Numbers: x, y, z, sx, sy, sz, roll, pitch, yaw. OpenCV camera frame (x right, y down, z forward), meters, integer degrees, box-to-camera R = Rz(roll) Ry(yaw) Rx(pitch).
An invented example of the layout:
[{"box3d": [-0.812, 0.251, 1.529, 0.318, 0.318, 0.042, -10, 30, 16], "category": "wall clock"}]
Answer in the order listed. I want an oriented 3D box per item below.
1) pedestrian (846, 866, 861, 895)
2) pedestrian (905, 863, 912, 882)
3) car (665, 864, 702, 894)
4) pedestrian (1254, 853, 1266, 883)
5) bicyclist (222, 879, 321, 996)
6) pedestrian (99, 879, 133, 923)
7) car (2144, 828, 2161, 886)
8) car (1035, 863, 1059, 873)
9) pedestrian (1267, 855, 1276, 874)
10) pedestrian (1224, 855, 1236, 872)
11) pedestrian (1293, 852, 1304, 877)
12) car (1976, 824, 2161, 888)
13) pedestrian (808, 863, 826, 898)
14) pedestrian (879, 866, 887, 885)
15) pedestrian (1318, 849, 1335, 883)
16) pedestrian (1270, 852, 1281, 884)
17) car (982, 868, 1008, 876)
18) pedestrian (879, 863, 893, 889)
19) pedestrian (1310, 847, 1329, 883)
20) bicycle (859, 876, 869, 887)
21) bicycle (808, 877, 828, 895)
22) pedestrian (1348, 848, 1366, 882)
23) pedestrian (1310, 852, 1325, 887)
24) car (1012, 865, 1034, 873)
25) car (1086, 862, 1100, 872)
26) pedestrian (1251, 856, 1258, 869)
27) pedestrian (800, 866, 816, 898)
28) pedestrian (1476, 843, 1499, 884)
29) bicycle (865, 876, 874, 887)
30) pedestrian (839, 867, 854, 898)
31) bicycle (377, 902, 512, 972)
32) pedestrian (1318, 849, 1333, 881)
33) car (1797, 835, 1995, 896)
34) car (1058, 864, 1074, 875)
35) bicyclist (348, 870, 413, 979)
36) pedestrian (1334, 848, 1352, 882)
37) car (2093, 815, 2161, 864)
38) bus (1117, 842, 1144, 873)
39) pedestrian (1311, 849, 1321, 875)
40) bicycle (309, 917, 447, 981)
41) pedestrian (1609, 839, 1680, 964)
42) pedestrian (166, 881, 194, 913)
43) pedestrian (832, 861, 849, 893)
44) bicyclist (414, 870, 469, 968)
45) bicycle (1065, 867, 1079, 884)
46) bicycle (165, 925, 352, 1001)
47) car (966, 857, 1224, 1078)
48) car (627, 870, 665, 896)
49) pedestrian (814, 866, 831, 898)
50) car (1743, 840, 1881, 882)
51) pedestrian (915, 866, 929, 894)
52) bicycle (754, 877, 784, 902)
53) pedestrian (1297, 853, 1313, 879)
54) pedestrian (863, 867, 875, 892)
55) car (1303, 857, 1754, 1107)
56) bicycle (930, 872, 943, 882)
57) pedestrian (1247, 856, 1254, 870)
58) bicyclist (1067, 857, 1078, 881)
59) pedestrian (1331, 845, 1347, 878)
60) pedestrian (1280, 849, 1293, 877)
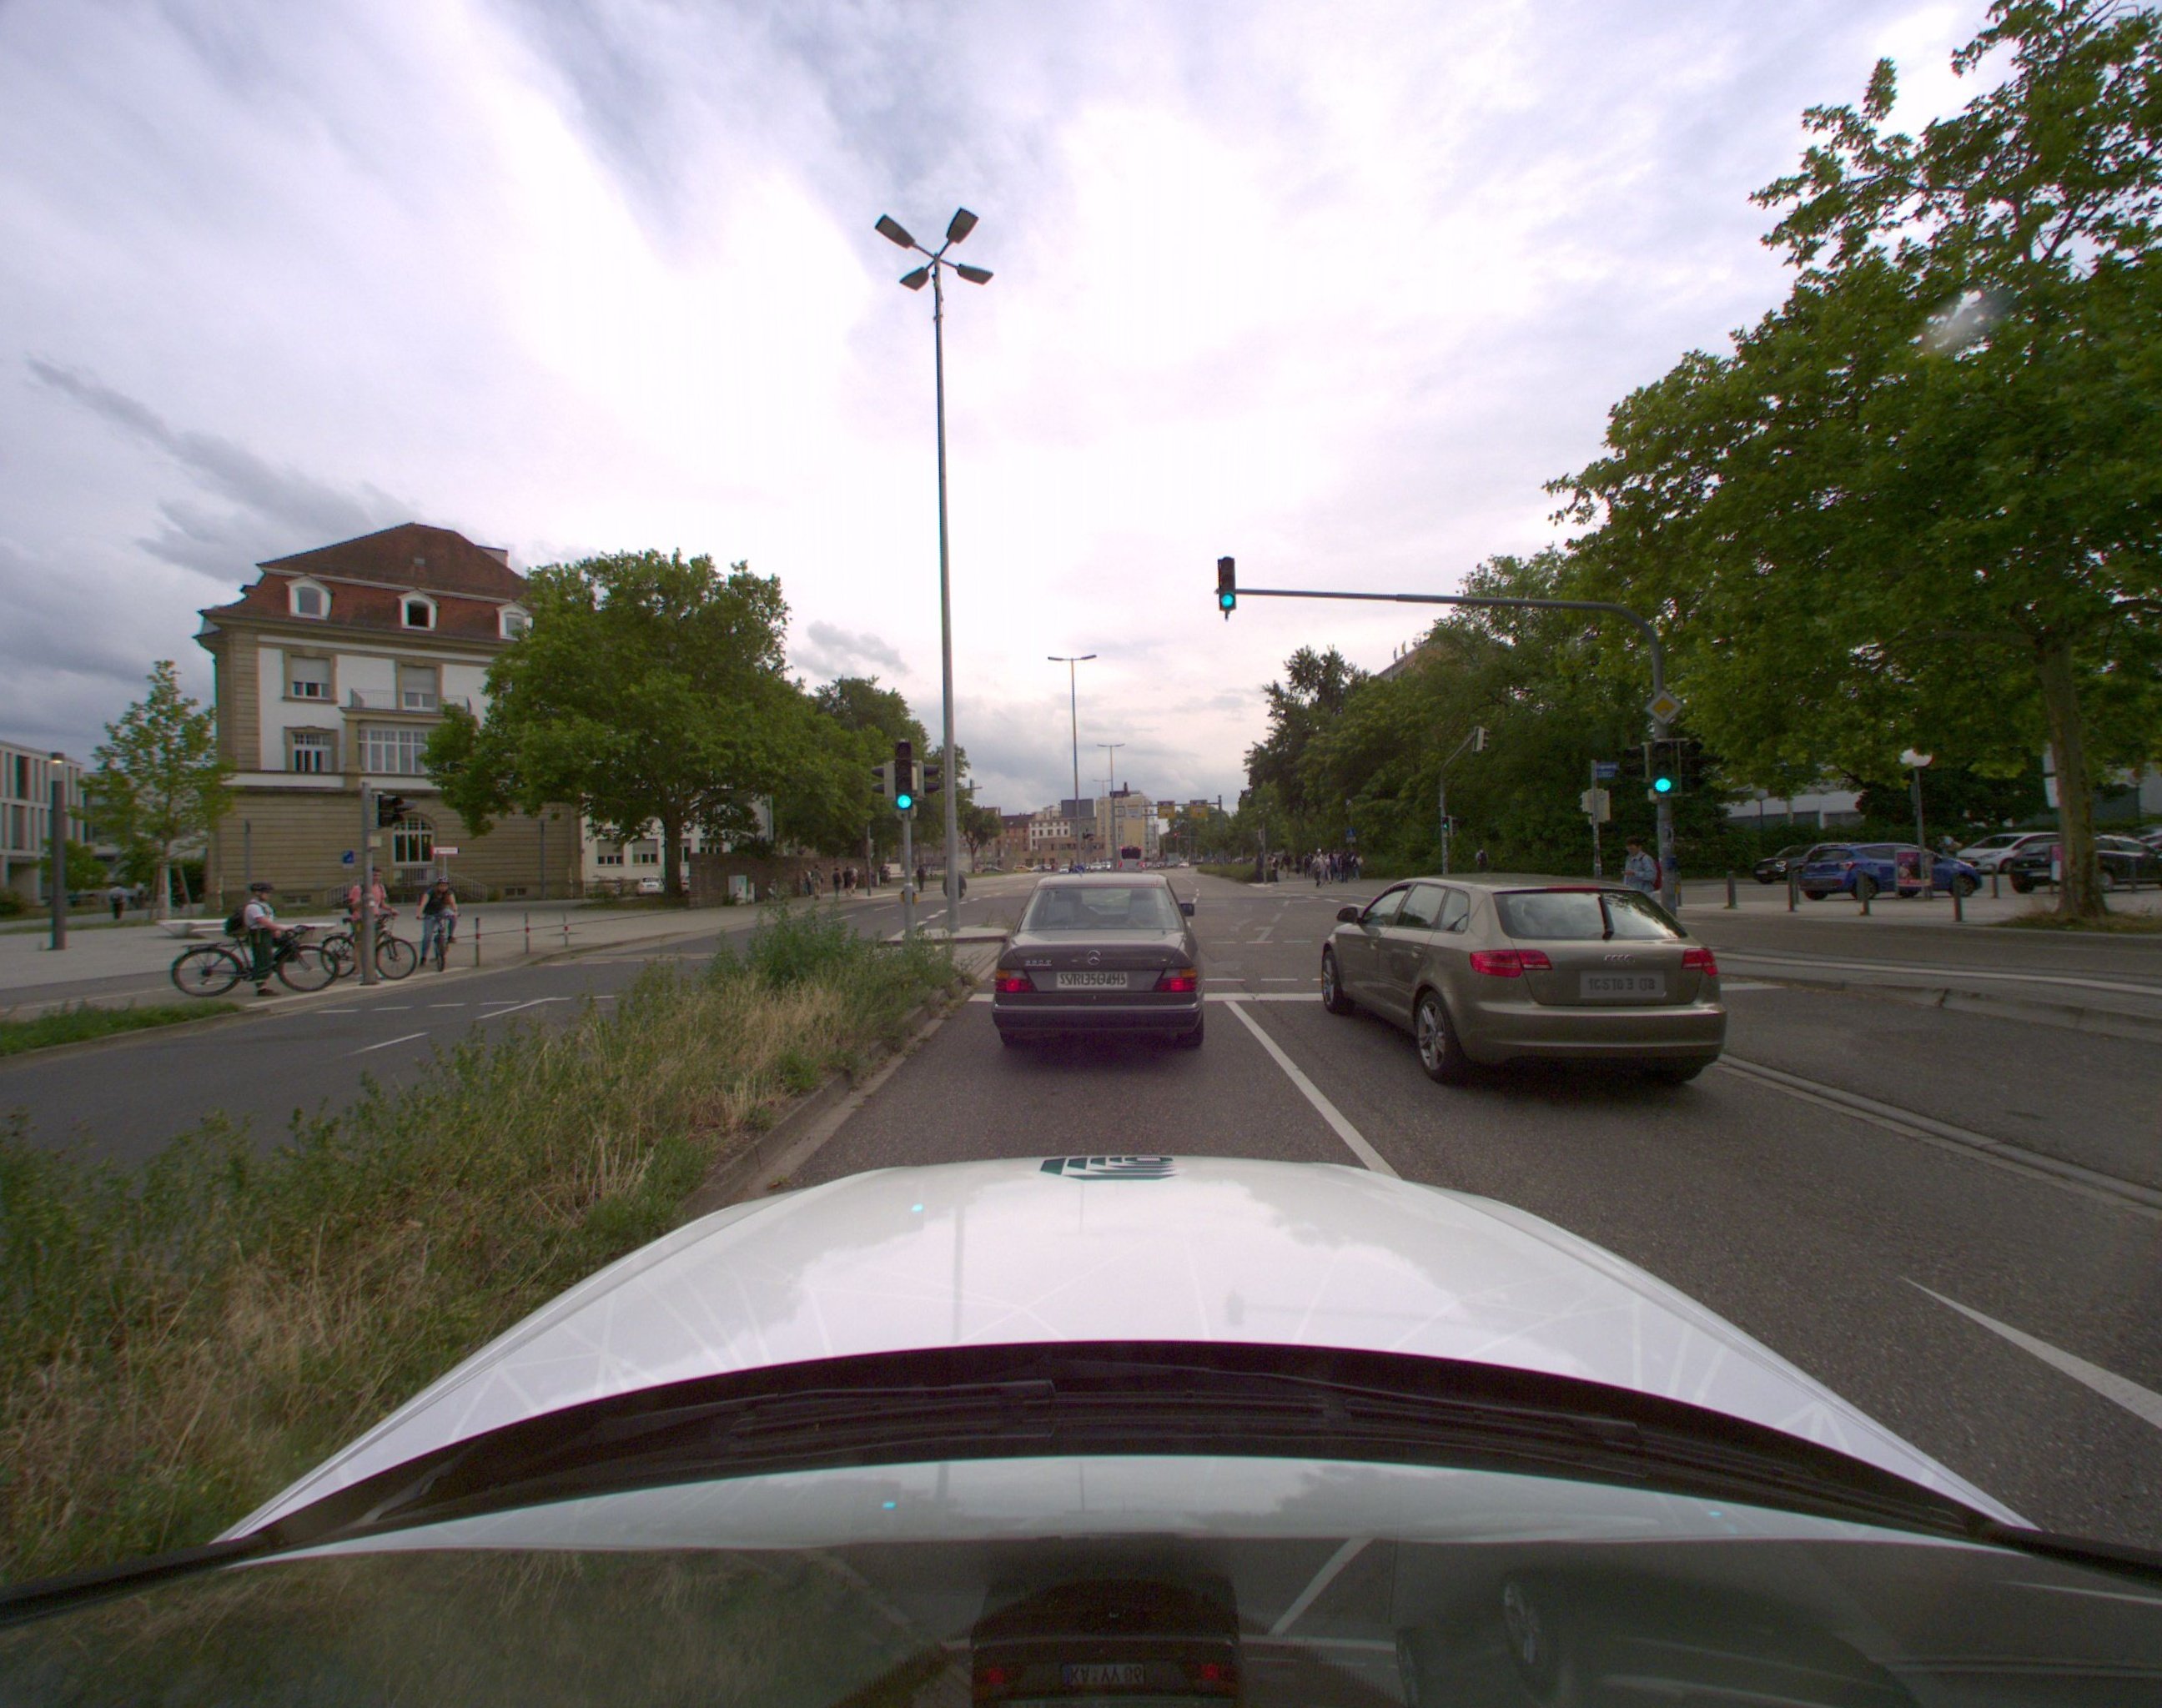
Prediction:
[{"box3d": [-14.361, 1.666, 51.473, 0.762, 1.783, 0.907, -1, -3, -24], "category": "pedestrian"}, {"box3d": [-15.151, 1.614, 71.547, 0.560, 1.668, 0.624, -1, -2, -12], "category": "pedestrian"}, {"box3d": [-28.600, 1.790, 58.591, 1.794, 2.014, 3.957, -1, -1, -34], "category": "car"}, {"box3d": [10.614, 0.814, 48.305, 0.599, 1.735, 0.655, -2, -1, 3], "category": "pedestrian"}, {"box3d": [-12.004, 1.208, 12.102, 0.727, 1.673, 0.721, 0, -1, -12], "category": "bicyclist"}, {"box3d": [-44.788, 2.166, 37.793, 0.797, 2.014, 0.827, -1, -1, -34], "category": "pedestrian"}, {"box3d": [31.486, 0.007, 21.537, 4.422, 1.567, 1.675, -2, -2, 1], "category": "car"}, {"box3d": [-6.356, 2.662, 153.668, 4.165, 1.649, 1.637, -2, -1, -18], "category": "car"}, {"box3d": [16.961, 0.909, 72.426, 0.584, 1.683, 0.749, -2, -1, 5], "category": "pedestrian"}, {"box3d": [16.321, 1.075, 89.357, 0.925, 1.830, 0.892, -3, -1, 32], "category": "pedestrian"}, {"box3d": [14.219, 0.692, 53.296, 0.553, 1.655, 0.754, -2, -1, 5], "category": "pedestrian"}, {"box3d": [26.665, 0.074, 21.705, 3.669, 1.567, 1.675, -2, -2, 1], "category": "car"}, {"box3d": [-13.716, 1.388, 42.339, 0.749, 1.783, 0.777, 0, -3, -28], "category": "pedestrian"}, {"box3d": [-17.222, 1.855, 70.731, 0.587, 1.592, 0.731, -1, -3, -18], "category": "pedestrian"}, {"box3d": [12.935, 0.620, 42.897, 0.621, 1.745, 0.781, -2, -1, 3], "category": "pedestrian"}, {"box3d": [10.922, 0.782, 45.801, 0.452, 1.735, 0.637, -2, -1, 3], "category": "pedestrian"}, {"box3d": [-15.601, 3.296, 147.718, 4.654, 1.475, 1.660, 0, -1, 0], "category": "car"}, {"box3d": [-13.804, 1.576, 57.578, 0.762, 1.783, 0.917, -1, -3, -24], "category": "pedestrian"}, {"box3d": [12.336, 0.583, 42.154, 0.644, 1.852, 0.826, 0, -1, -9], "category": "pedestrian"}, {"box3d": [-16.671, 2.107, 62.547, 0.440, 0.797, 1.618, 1, 0, -4], "category": "bicycle"}, {"box3d": [-15.743, 1.903, 48.777, 0.547, 1.058, 1.979, 1, -1, -1], "category": "bicycle"}, {"box3d": [14.441, 0.557, 42.687, 0.654, 1.745, 0.781, -2, -1, 3], "category": "pedestrian"}, {"box3d": [11.562, 0.763, 39.861, 0.543, 1.687, 0.637, -2, -1, 3], "category": "pedestrian"}, {"box3d": [-10.578, 2.691, 147.544, 3.844, 1.517, 1.660, 0, -1, 0], "category": "car"}, {"box3d": [1.837, 1.987, 123.861, 1.794, 1.489, 4.292, -2, -1, 3], "category": "car"}, {"box3d": [20.117, 0.992, 94.592, 0.655, 1.470, 0.562, -2, -1, 1], "category": "pedestrian"}, {"box3d": [-15.513, 1.592, 46.280, 0.749, 1.783, 0.776, 0, -3, -30], "category": "pedestrian"}, {"box3d": [18.196, 0.422, 36.451, 0.642, 1.795, 0.741, -2, -1, 3], "category": "pedestrian"}, {"box3d": [-16.814, 2.196, 64.805, 0.440, 0.797, 1.618, 1, 0, -4], "category": "bicycle"}, {"box3d": [-13.745, 1.686, 47.749, 0.762, 1.783, 0.777, -1, -3, -24], "category": "pedestrian"}, {"box3d": [-11.903, 1.538, 15.278, 1.891, 1.170, 0.604, -1, -1, -13], "category": "bicycle"}, {"box3d": [13.463, 0.612, 44.901, 0.578, 1.745, 0.790, -2, -1, 3], "category": "pedestrian"}, {"box3d": [21.731, 0.323, 21.825, 3.558, 1.492, 1.675, -2, -2, 1], "category": "car"}, {"box3d": [-1.998, 2.077, 110.920, 1.754, 1.489, 4.548, -2, -1, 3], "category": "car"}, {"box3d": [-11.913, 1.170, 13.865, 0.600, 1.807, 0.559, 0, -1, -12], "category": "bicyclist"}, {"box3d": [13.755, 0.589, 42.775, 0.654, 1.745, 0.781, -2, -1, 3], "category": "pedestrian"}, {"box3d": [39.962, -0.550, 29.522, 4.264, 1.692, 1.685, -2, -2, 2], "category": "car"}, {"box3d": [5.679, 0.423, 93.135, 2.819, 3.390, 8.190, -2, -1, 4], "category": "bus"}, {"box3d": [15.881, 0.536, 55.063, 0.482, 1.763, 0.665, -2, -1, 5], "category": "pedestrian"}, {"box3d": [-11.920, 1.593, 13.855, 1.688, 0.989, 0.569, 0, -1, -12], "category": "bicycle"}, {"box3d": [8.461, 0.702, 12.257, 0.570, 1.817, 0.683, -2, -1, 5], "category": "pedestrian"}, {"box3d": [-58.248, 2.787, 52.648, 0.921, 2.014, 1.219, -1, -1, -34], "category": "pedestrian"}, {"box3d": [-13.464, 1.298, 45.600, 0.762, 1.783, 0.777, 0, -3, -25], "category": "pedestrian"}, {"box3d": [-11.995, 1.195, 15.292, 0.600, 1.807, 0.559, 0, -1, -12], "category": "bicyclist"}, {"box3d": [-0.560, 1.405, 52.739, 0.570, 1.055, 1.931, -2, -1, 9], "category": "bicycle"}, {"box3d": [-12.126, 1.589, 12.067, 1.818, 0.989, 0.725, 0, -1, -12], "category": "bicycle"}, {"box3d": [0.160, 0.812, 7.755, 1.754, 1.489, 4.172, -2, -1, 2], "category": "car"}, {"box3d": [-30.954, 2.060, 57.886, 1.919, 1.751, 3.956, -1, -1, -35], "category": "car"}, {"box3d": [-14.527, 1.578, 45.726, 0.763, 1.783, 0.777, 0, -3, -27], "category": "pedestrian"}, {"box3d": [27.198, 0.287, 30.389, 3.556, 1.442, 1.685, -2, -2, 2], "category": "car"}, {"box3d": [-10.211, 1.687, 52.417, 0.761, 1.783, 0.717, -1, -3, -19], "category": "pedestrian"}, {"box3d": [-15.462, 1.755, 40.372, 0.575, 1.126, 2.165, 1, -1, 1], "category": "bicycle"}, {"box3d": [14.194, 0.756, 51.655, 0.771, 1.602, 0.813, -2, -1, 5], "category": "pedestrian"}, {"box3d": [-15.611, 1.872, 59.962, 0.762, 1.783, 0.777, -1, -3, -24], "category": "pedestrian"}, {"box3d": [3.215, 0.793, 6.797, 1.718, 1.457, 3.736, -2, -1, 1], "category": "car"}, {"box3d": [-15.204, 2.431, 85.651, 0.467, 0.919, 2.347, -2, -1, 13], "category": "bicycle"}, {"box3d": [20.456, 1.068, 98.222, 0.641, 1.713, 0.564, -2, -1, 20], "category": "pedestrian"}, {"box3d": [-0.570, 0.959, 52.832, 0.569, 1.574, 0.701, -2, -1, 9], "category": "bicyclist"}, {"box3d": [14.365, 0.418, 45.347, 0.654, 1.745, 0.781, -2, -1, 3], "category": "pedestrian"}, {"box3d": [13.719, 0.627, 54.374, 0.689, 1.821, 0.955, -2, -1, 5], "category": "pedestrian"}]
